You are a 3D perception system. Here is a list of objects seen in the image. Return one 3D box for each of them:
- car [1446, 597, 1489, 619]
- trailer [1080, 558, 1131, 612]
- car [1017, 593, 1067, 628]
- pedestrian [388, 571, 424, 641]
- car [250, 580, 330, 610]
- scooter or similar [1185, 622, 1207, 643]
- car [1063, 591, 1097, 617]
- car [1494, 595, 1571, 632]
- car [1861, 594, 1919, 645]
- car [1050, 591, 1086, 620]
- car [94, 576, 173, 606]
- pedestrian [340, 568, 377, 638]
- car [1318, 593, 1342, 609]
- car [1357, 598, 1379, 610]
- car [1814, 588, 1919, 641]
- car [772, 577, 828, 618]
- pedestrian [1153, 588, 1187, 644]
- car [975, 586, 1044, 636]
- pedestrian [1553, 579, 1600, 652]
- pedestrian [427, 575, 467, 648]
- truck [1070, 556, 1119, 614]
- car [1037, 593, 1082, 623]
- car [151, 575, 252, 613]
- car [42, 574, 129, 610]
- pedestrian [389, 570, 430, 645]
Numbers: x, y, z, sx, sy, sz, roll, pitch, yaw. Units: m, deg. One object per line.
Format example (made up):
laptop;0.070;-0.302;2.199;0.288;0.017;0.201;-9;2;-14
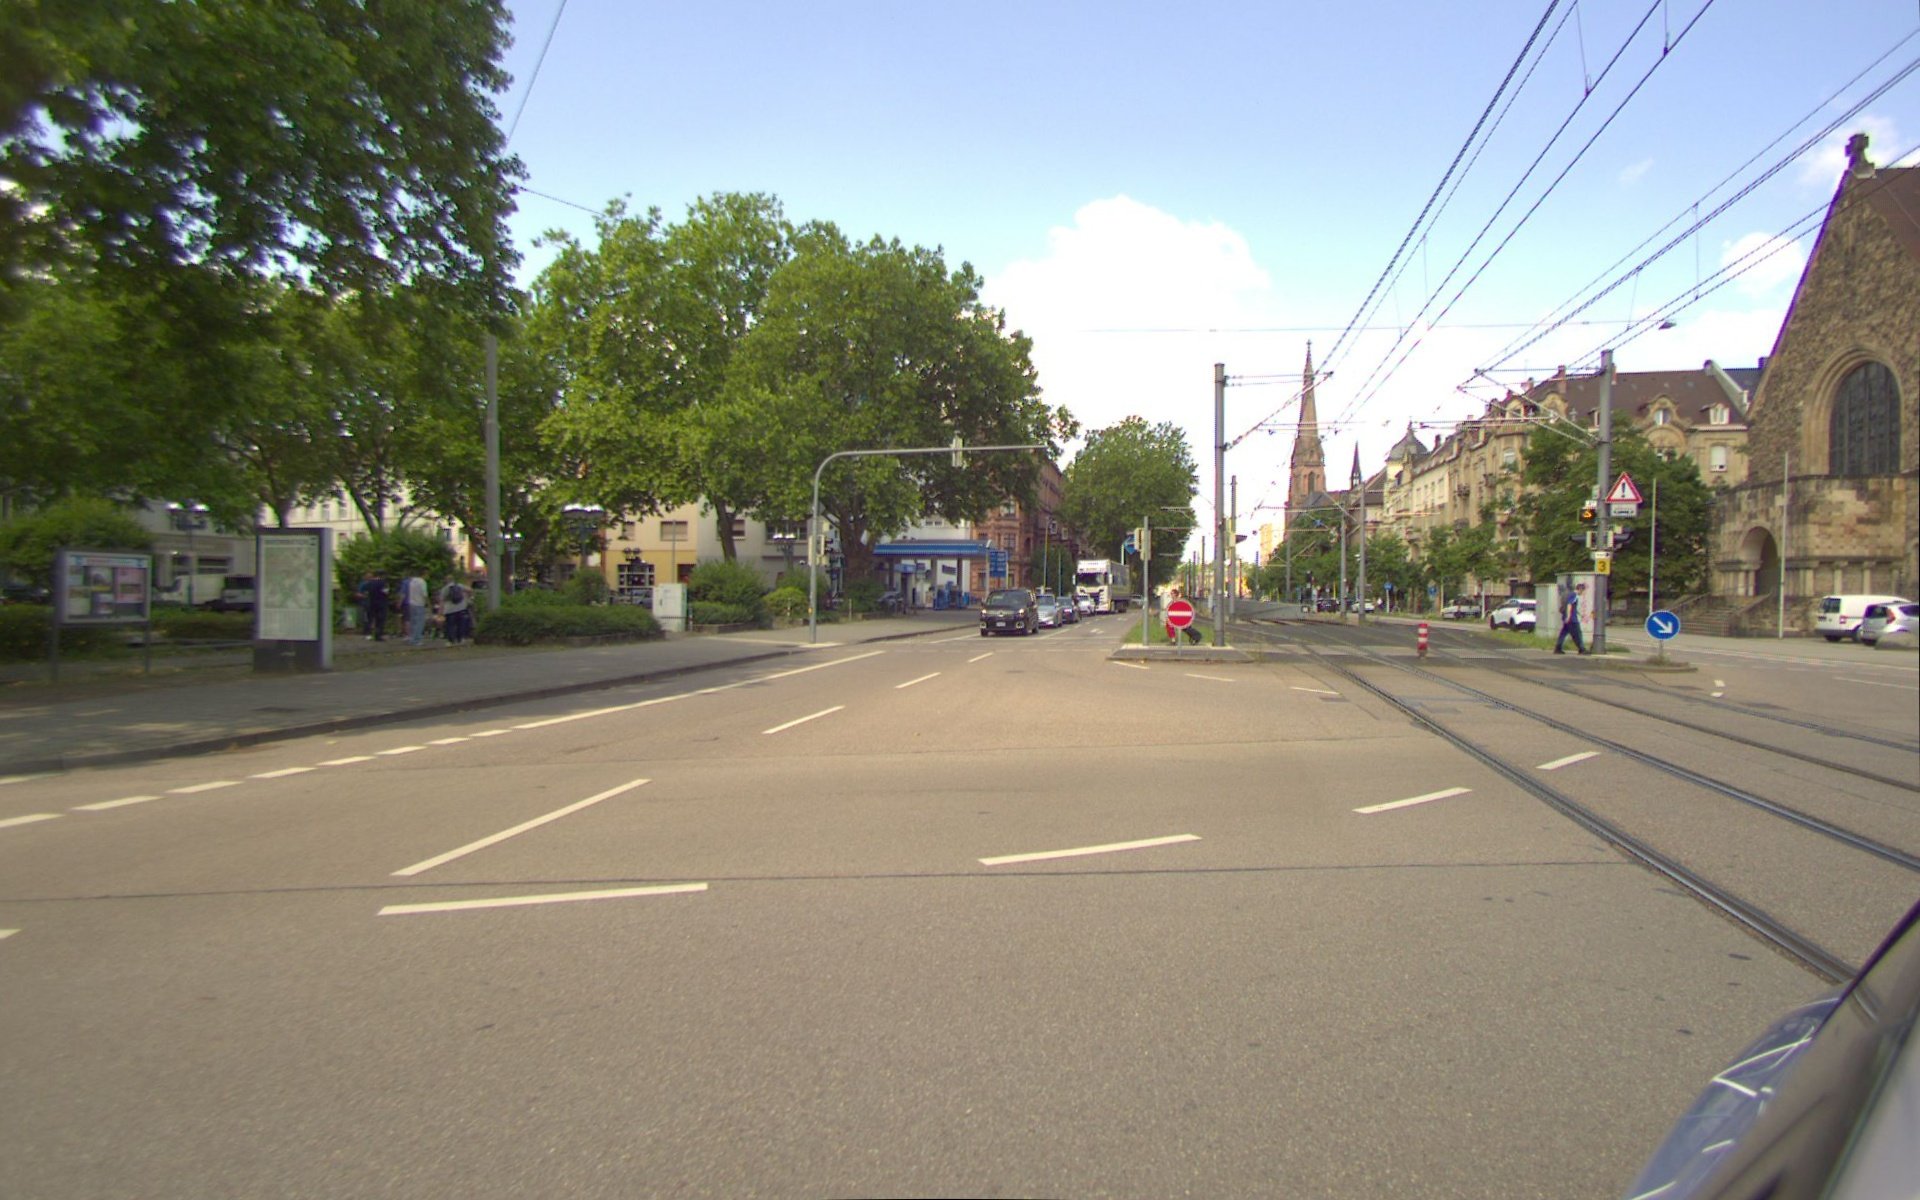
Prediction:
car;35.443;0.539;70.755;1.762;1.514;3.822;1;0;13
trailer;12.206;-1.241;84.080;2.875;4.128;11.597;1;1;15
car;3.816;0.430;46.450;1.708;1.484;4.311;1;1;13
pedestrian;-14.155;0.151;25.874;0.593;1.772;0.700;1;0;-11
car;-39.717;-0.331;60.039;3.942;1.701;1.846;1;1;15
scooter or similar;6.500;0.904;27.898;0.511;0.542;0.310;3;0;0
car;8.243;0.248;69.353;1.827;1.727;4.117;1;1;13
car;24.919;0.564;44.230;1.793;1.525;4.114;1;0;13
car;34.367;0.741;35.543;3.579;1.700;1.813;3;-1;10
car;6.381;0.284;59.373;1.661;1.583;3.738;1;1;13
car;-50.337;-0.557;61.645;3.942;1.718;1.729;1;1;15
pedestrian;-15.659;0.075;26.346;0.593;1.772;0.700;1;0;-11
car;36.834;0.068;100.838;1.758;1.554;4.368;2;1;13
car;42.921;0.437;106.528;1.630;1.249;3.051;1;0;13
car;35.709;0.580;38.618;4.240;1.877;1.992;3;-1;13
car;-9.855;-0.189;62.584;2.081;2.450;3.984;1;1;13
pedestrian;5.753;0.428;27.728;0.761;1.511;0.658;-1;0;0
car;1.950;0.377;38.547;1.827;1.748;4.401;1;1;13
pedestrian;15.299;0.370;25.138;0.760;1.753;0.741;1;0;12
pedestrian;-12.428;0.277;24.535;0.678;1.744;0.721;1;0;-11
truck;10.292;-1.139;76.797;2.875;4.201;6.561;1;1;15
car;5.306;0.383;53.660;1.827;1.464;3.957;1;1;13
car;-41.096;-0.336;54.840;4.426;1.929;2.095;1;1;15
car;-51.028;-0.473;59.097;3.942;1.989;1.991;1;1;15
pedestrian;-13.345;0.168;24.563;0.678;1.786;0.671;1;0;-11
